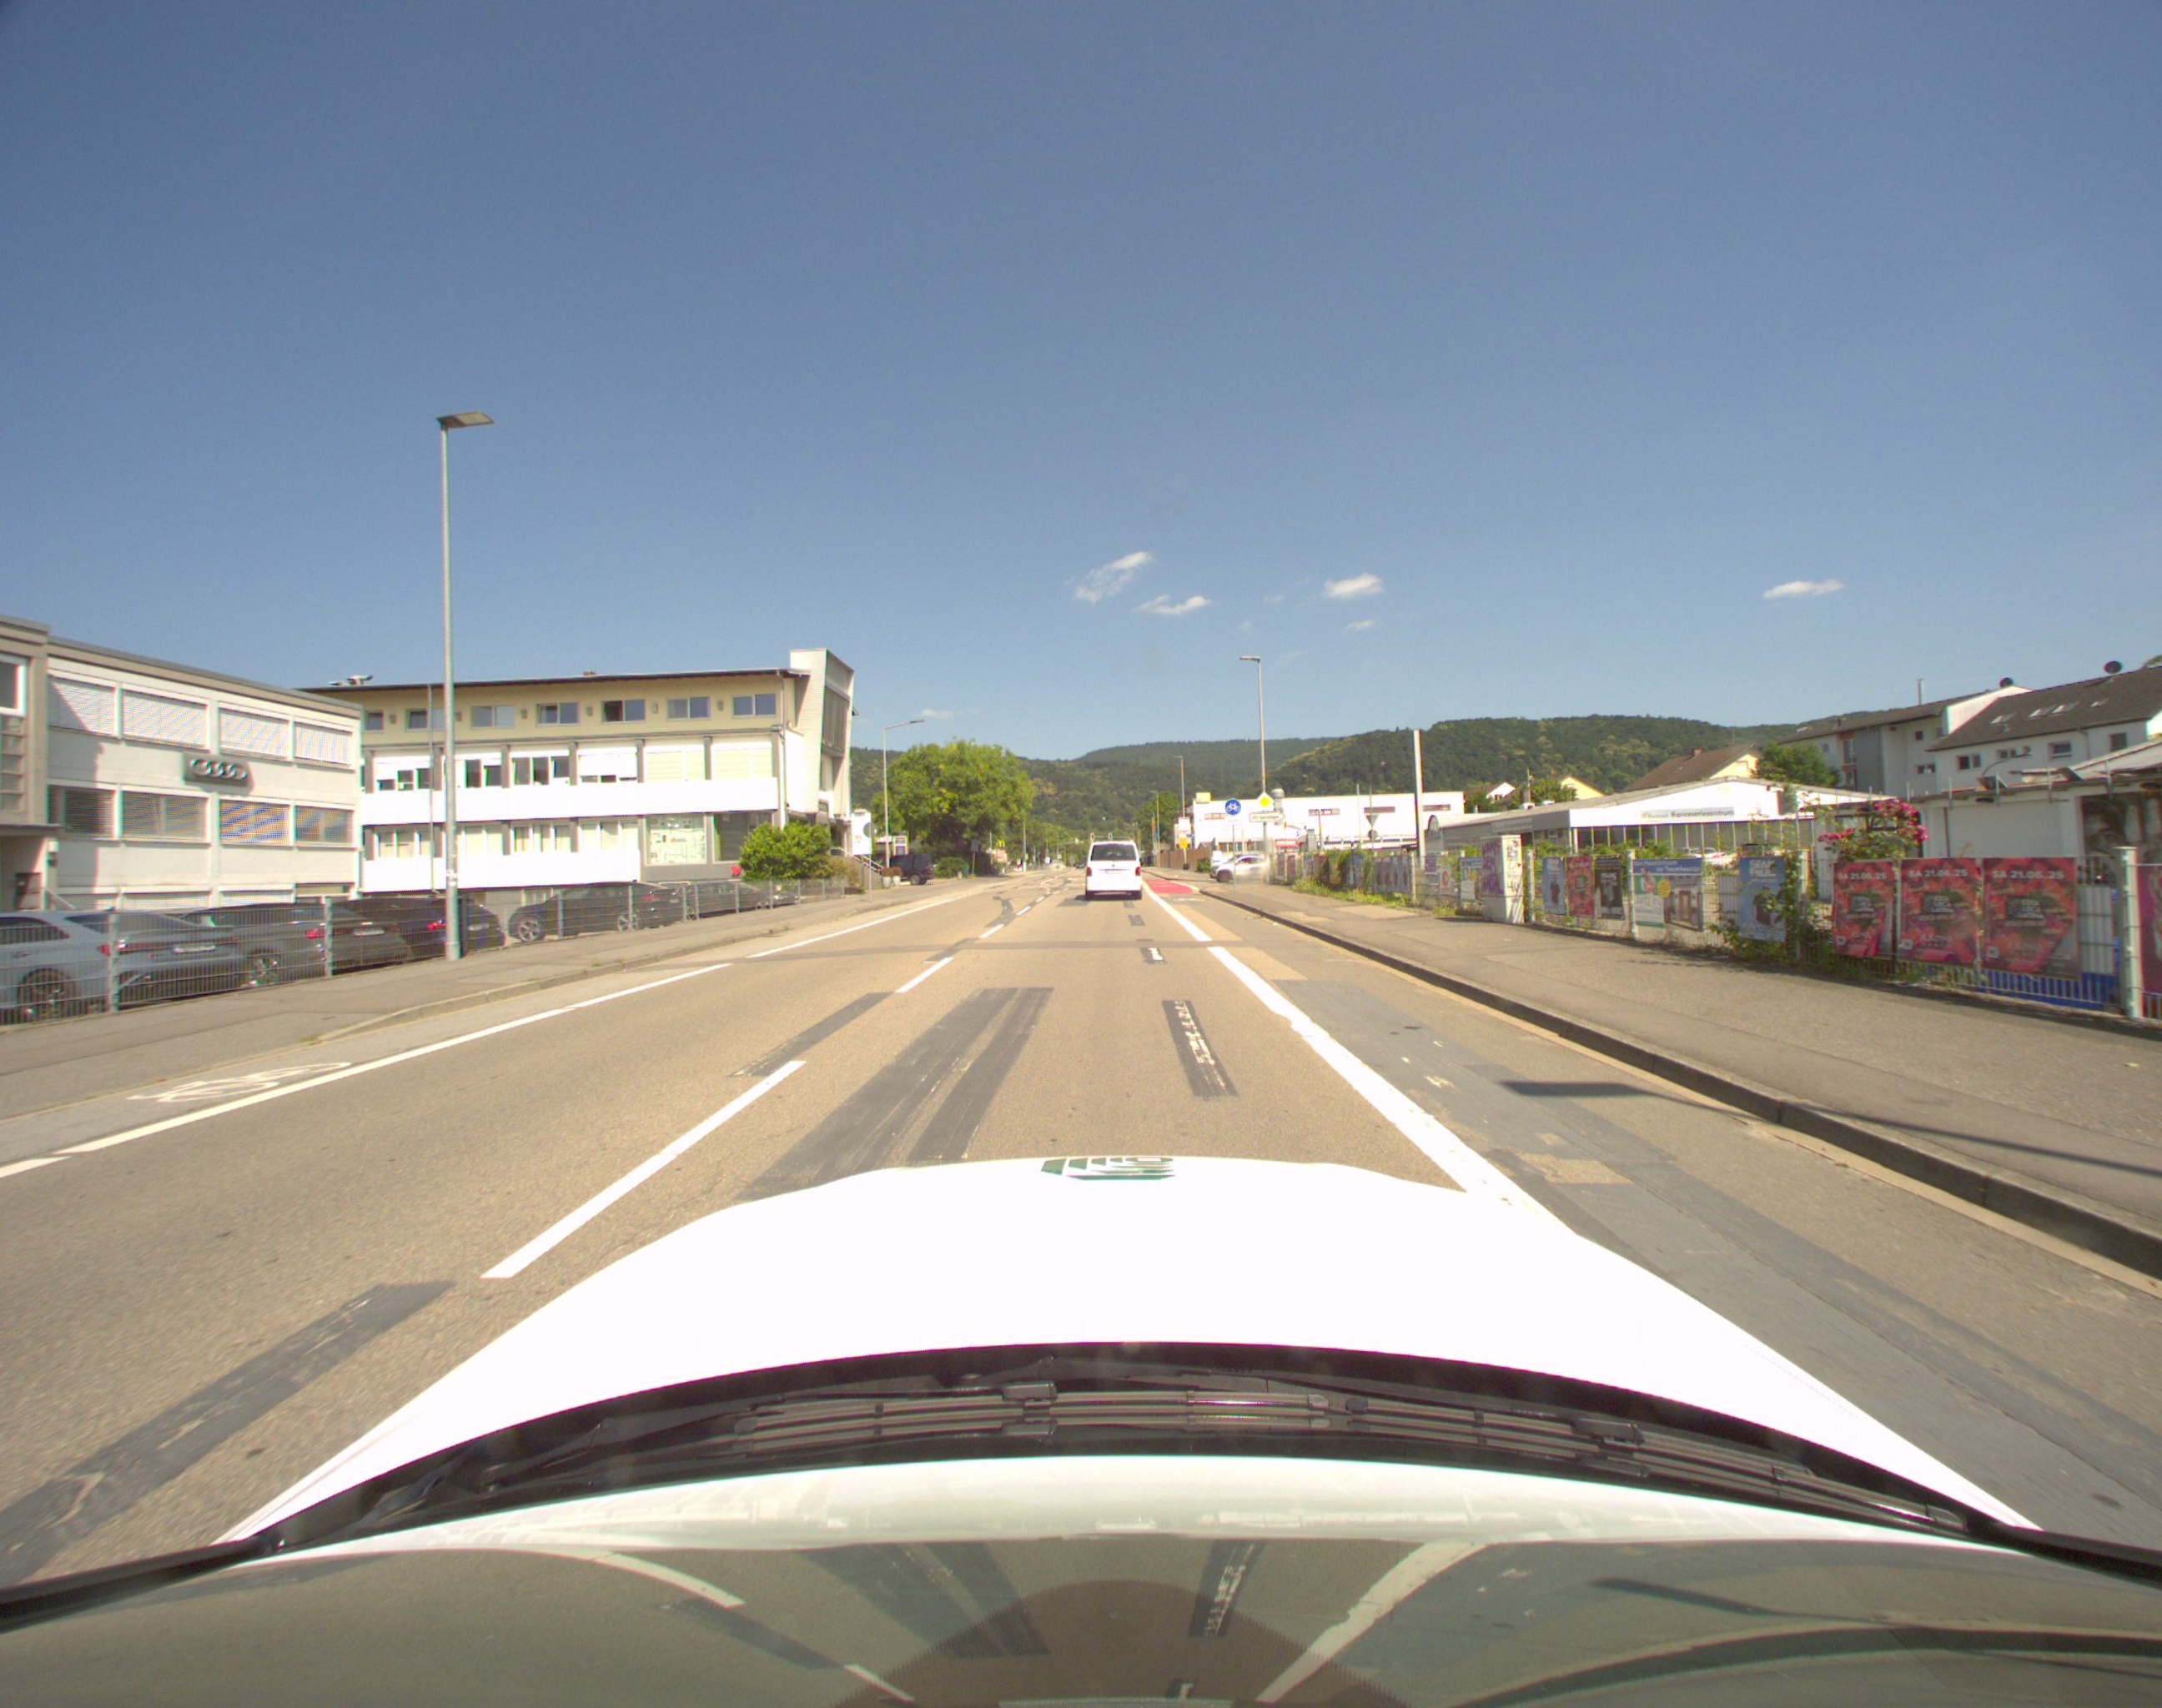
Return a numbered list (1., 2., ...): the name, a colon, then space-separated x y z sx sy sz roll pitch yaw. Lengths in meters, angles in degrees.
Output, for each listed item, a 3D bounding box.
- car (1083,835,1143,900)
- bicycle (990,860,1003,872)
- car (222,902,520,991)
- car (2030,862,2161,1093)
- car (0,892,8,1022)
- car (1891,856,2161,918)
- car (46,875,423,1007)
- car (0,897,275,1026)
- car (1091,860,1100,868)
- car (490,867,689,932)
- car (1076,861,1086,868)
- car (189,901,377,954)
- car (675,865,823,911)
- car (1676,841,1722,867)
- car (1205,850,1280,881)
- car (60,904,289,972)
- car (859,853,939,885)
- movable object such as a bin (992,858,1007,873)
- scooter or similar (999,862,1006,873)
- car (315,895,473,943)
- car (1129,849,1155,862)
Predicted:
1. car: 1.040 0.448 28.618 1.928 2.060 4.543 0 0 0
2. bicycle: -8.152 1.157 78.803 1.024 1.118 2.764 1 0 -1
3. car: -13.651 1.754 15.881 3.977 1.490 1.857 2 -3 -2
4. car: 9.587 0.871 5.543 3.781 1.616 1.905 -1 0 40
5. car: -14.438 1.244 8.242 4.510 1.457 1.900 -2 0 -1
6. car: 23.511 0.791 20.353 4.310 1.398 2.121 -1 0 3
7. car: -13.478 1.347 13.185 3.977 1.443 1.858 -8 -3 -2
8. car: -13.740 1.370 10.926 3.877 1.445 1.823 2 -3 0
9. car: 3.235 2.123 179.505 1.842 1.588 4.002 -2 -1 2
10. car: -13.747 1.236 22.996 4.286 1.558 1.993 -2 0 -3
11. car: -0.001 2.304 175.040 1.987 1.370 4.326 -2 -1 0
12. car: -23.756 2.174 24.337 3.968 1.403 1.818 -1 -2 5
13. car: -12.550 1.262 31.019 4.724 1.481 2.048 -2 0 0
14. car: 37.261 0.043 49.156 1.771 1.464 3.848 0 -1 30
15. car: 8.483 0.598 42.984 3.649 1.484 1.729 -1 0 4
16. car: -24.112 2.210 21.775 3.974 1.546 1.859 -1 0 0
17. car: -11.278 0.899 50.785 4.557 1.865 2.090 -1 0 -4
18. movable object such as a bin: -8.837 1.215 88.287 1.447 1.590 1.304 -3 0 -7
19. scooter or similar: -7.971 1.393 82.538 0.646 1.128 1.620 1 -1 -5
20. car: -24.382 2.298 28.999 3.974 1.461 1.859 -1 0 0
21. car: 9.752 0.263 129.676 3.965 1.775 2.004 -3 -1 7
